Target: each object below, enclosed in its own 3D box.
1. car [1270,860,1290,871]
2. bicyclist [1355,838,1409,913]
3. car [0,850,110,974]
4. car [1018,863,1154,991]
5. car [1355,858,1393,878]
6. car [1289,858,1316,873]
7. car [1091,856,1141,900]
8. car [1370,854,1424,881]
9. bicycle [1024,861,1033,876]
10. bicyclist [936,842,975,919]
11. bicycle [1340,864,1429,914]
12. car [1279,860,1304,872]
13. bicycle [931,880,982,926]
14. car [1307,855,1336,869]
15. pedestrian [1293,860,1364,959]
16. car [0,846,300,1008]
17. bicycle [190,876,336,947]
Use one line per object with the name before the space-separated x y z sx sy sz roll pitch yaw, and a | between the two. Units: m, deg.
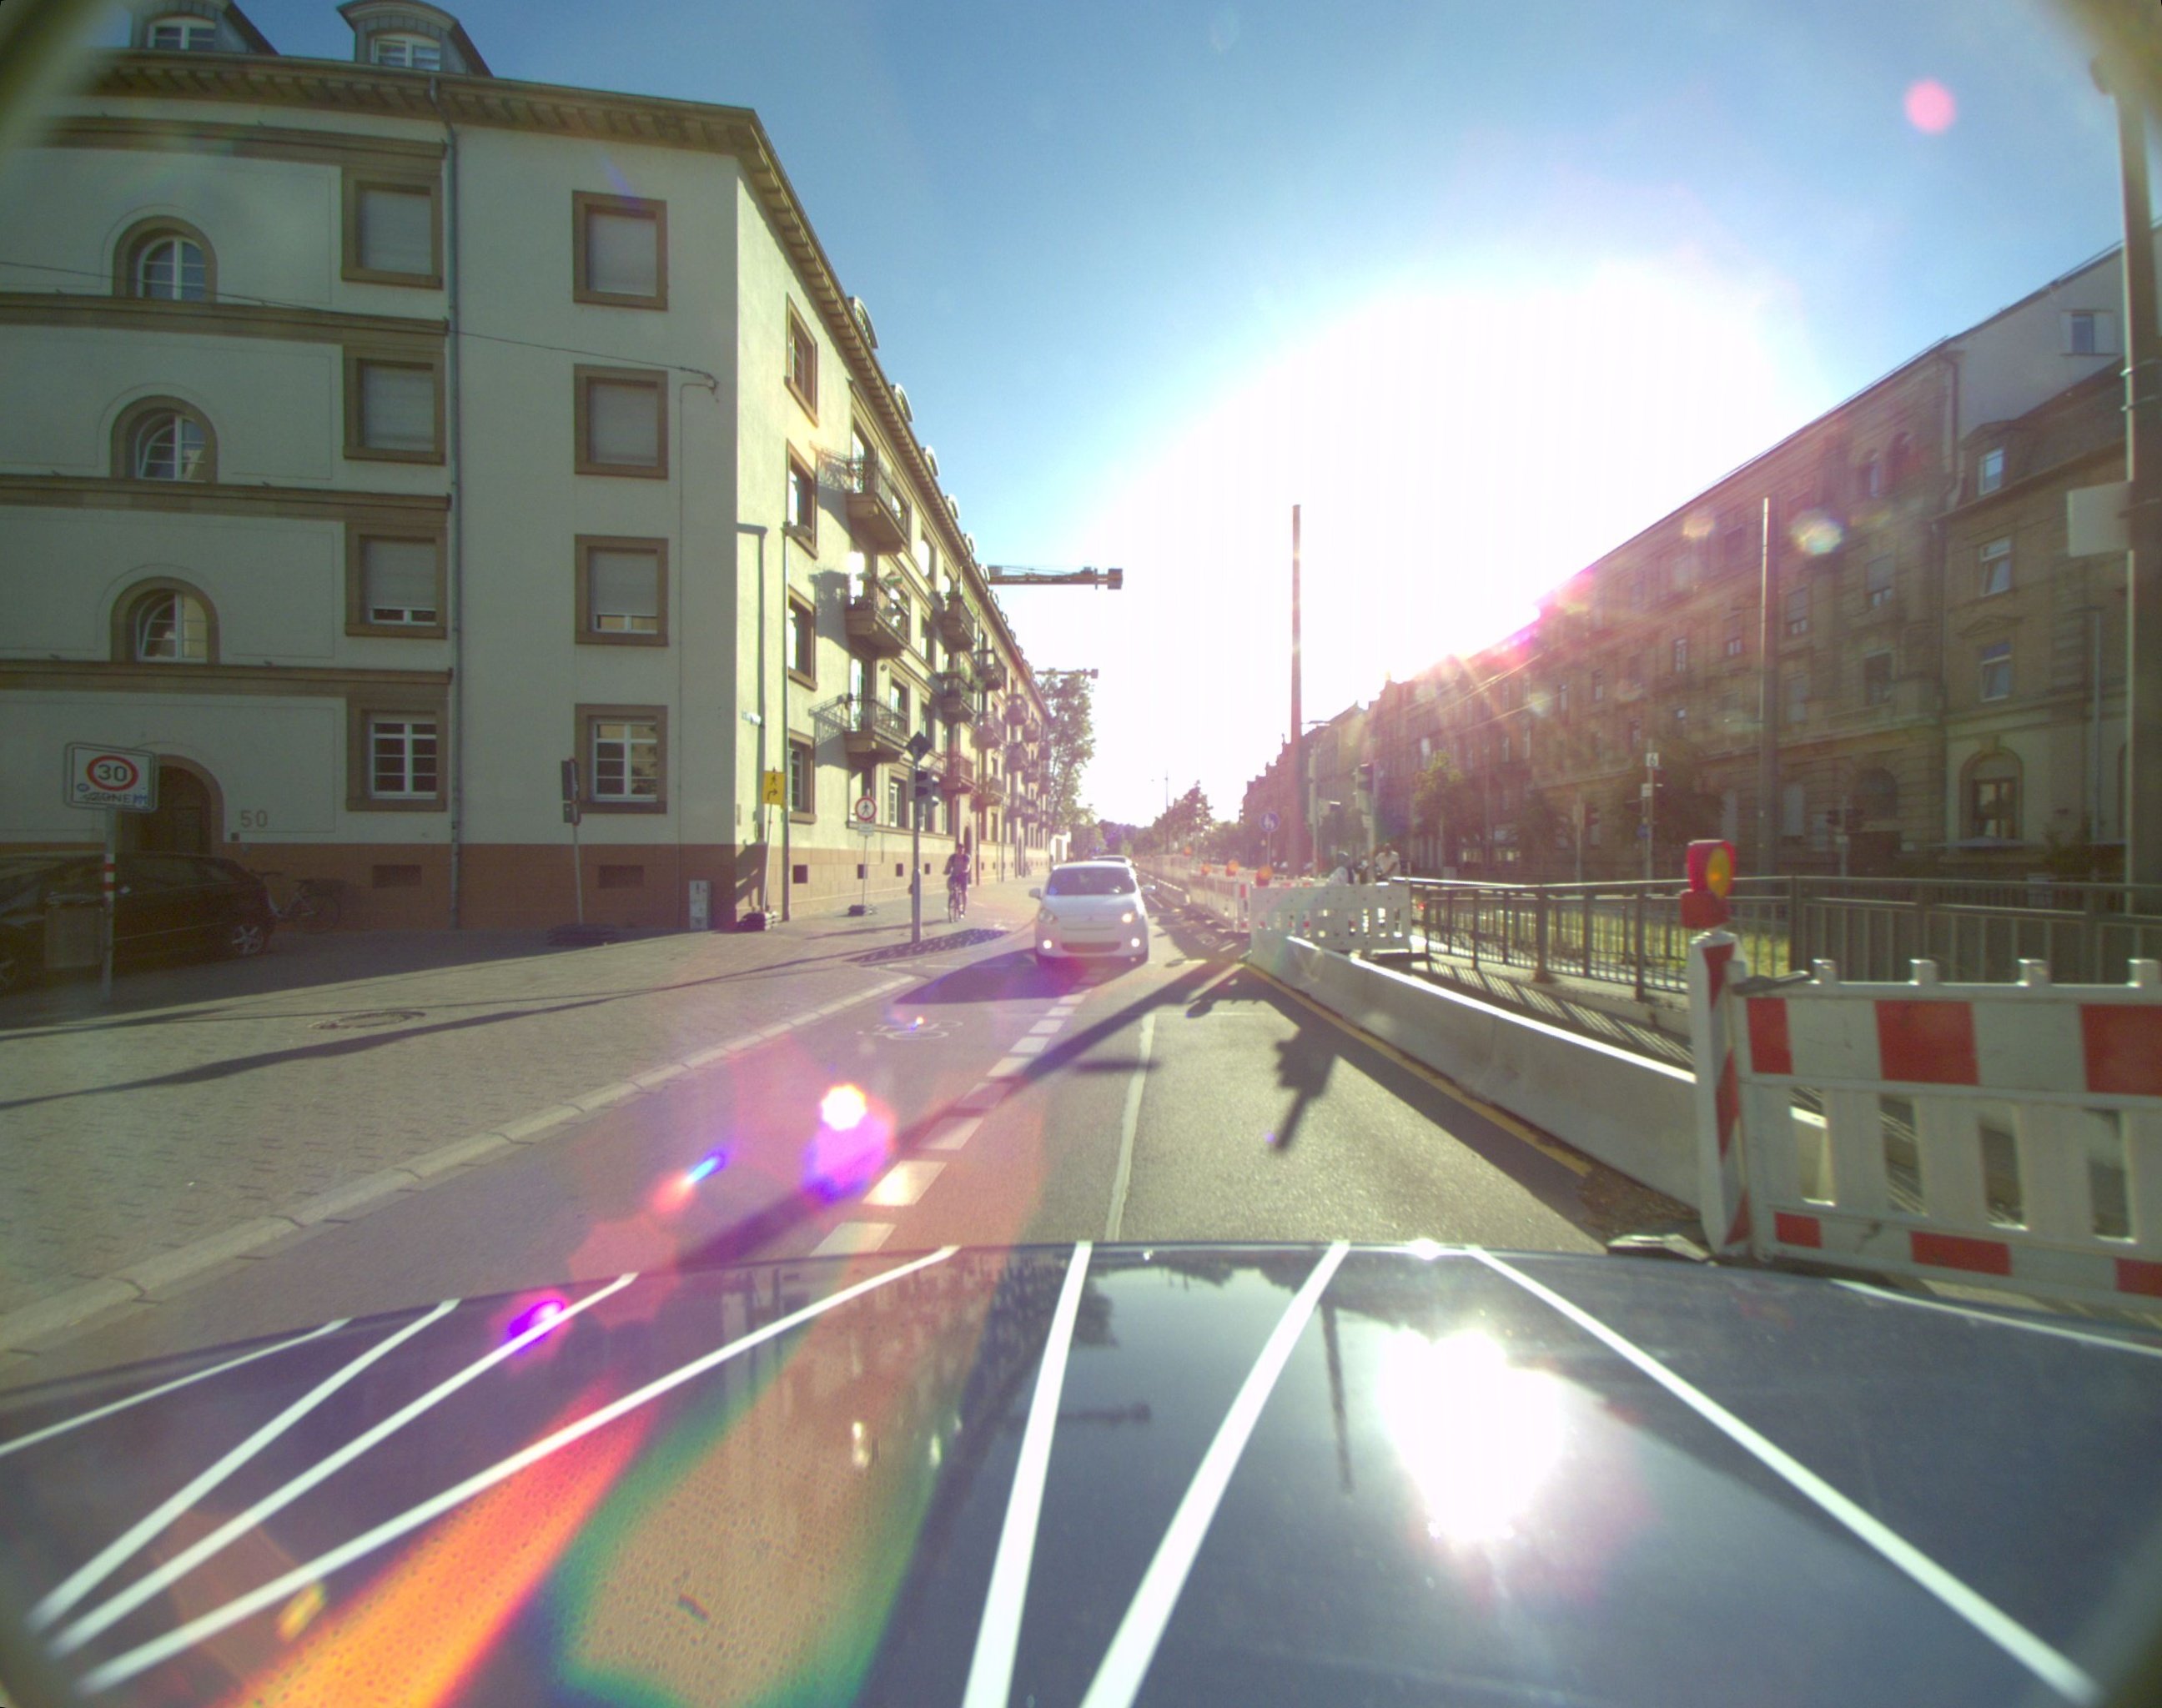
car | 27.257 1.546 104.123 1.752 1.470 4.029 -2 0 3
bicyclist | 7.346 0.507 18.566 0.886 1.763 0.854 0 1 -23
car | -15.441 0.833 9.366 1.628 1.677 4.435 -1 1 -9
car | 0.171 0.931 11.564 1.633 1.499 4.351 -2 0 3
car | 26.375 1.207 68.476 1.942 1.648 4.546 -2 0 5
car | 26.523 1.392 91.178 1.998 1.688 4.889 -2 0 2
car | 1.437 0.937 31.400 1.899 1.730 4.001 0 0 2
car | 20.081 0.851 48.445 1.800 1.630 4.478 0 0 3
bicycle | -3.911 1.096 57.159 0.419 1.089 2.198 0 0 3
bicyclist | -2.911 0.599 17.684 0.734 1.752 0.938 0 0 2
bicycle | 7.402 0.819 18.514 1.999 1.147 0.854 0 0 -23
car | 26.903 1.525 97.444 1.998 1.529 4.986 -2 0 3
bicycle | -2.894 1.116 17.901 0.769 0.947 2.198 0 0 2
car | 26.415 0.847 83.560 1.998 1.429 4.309 -2 0 2
pedestrian | 3.786 0.822 11.702 0.791 1.449 0.947 0 0 1
car | -12.741 0.825 9.408 1.697 1.677 4.436 -2 2 -5
bicycle | -14.108 0.976 13.139 1.811 1.158 0.406 0 2 -11
